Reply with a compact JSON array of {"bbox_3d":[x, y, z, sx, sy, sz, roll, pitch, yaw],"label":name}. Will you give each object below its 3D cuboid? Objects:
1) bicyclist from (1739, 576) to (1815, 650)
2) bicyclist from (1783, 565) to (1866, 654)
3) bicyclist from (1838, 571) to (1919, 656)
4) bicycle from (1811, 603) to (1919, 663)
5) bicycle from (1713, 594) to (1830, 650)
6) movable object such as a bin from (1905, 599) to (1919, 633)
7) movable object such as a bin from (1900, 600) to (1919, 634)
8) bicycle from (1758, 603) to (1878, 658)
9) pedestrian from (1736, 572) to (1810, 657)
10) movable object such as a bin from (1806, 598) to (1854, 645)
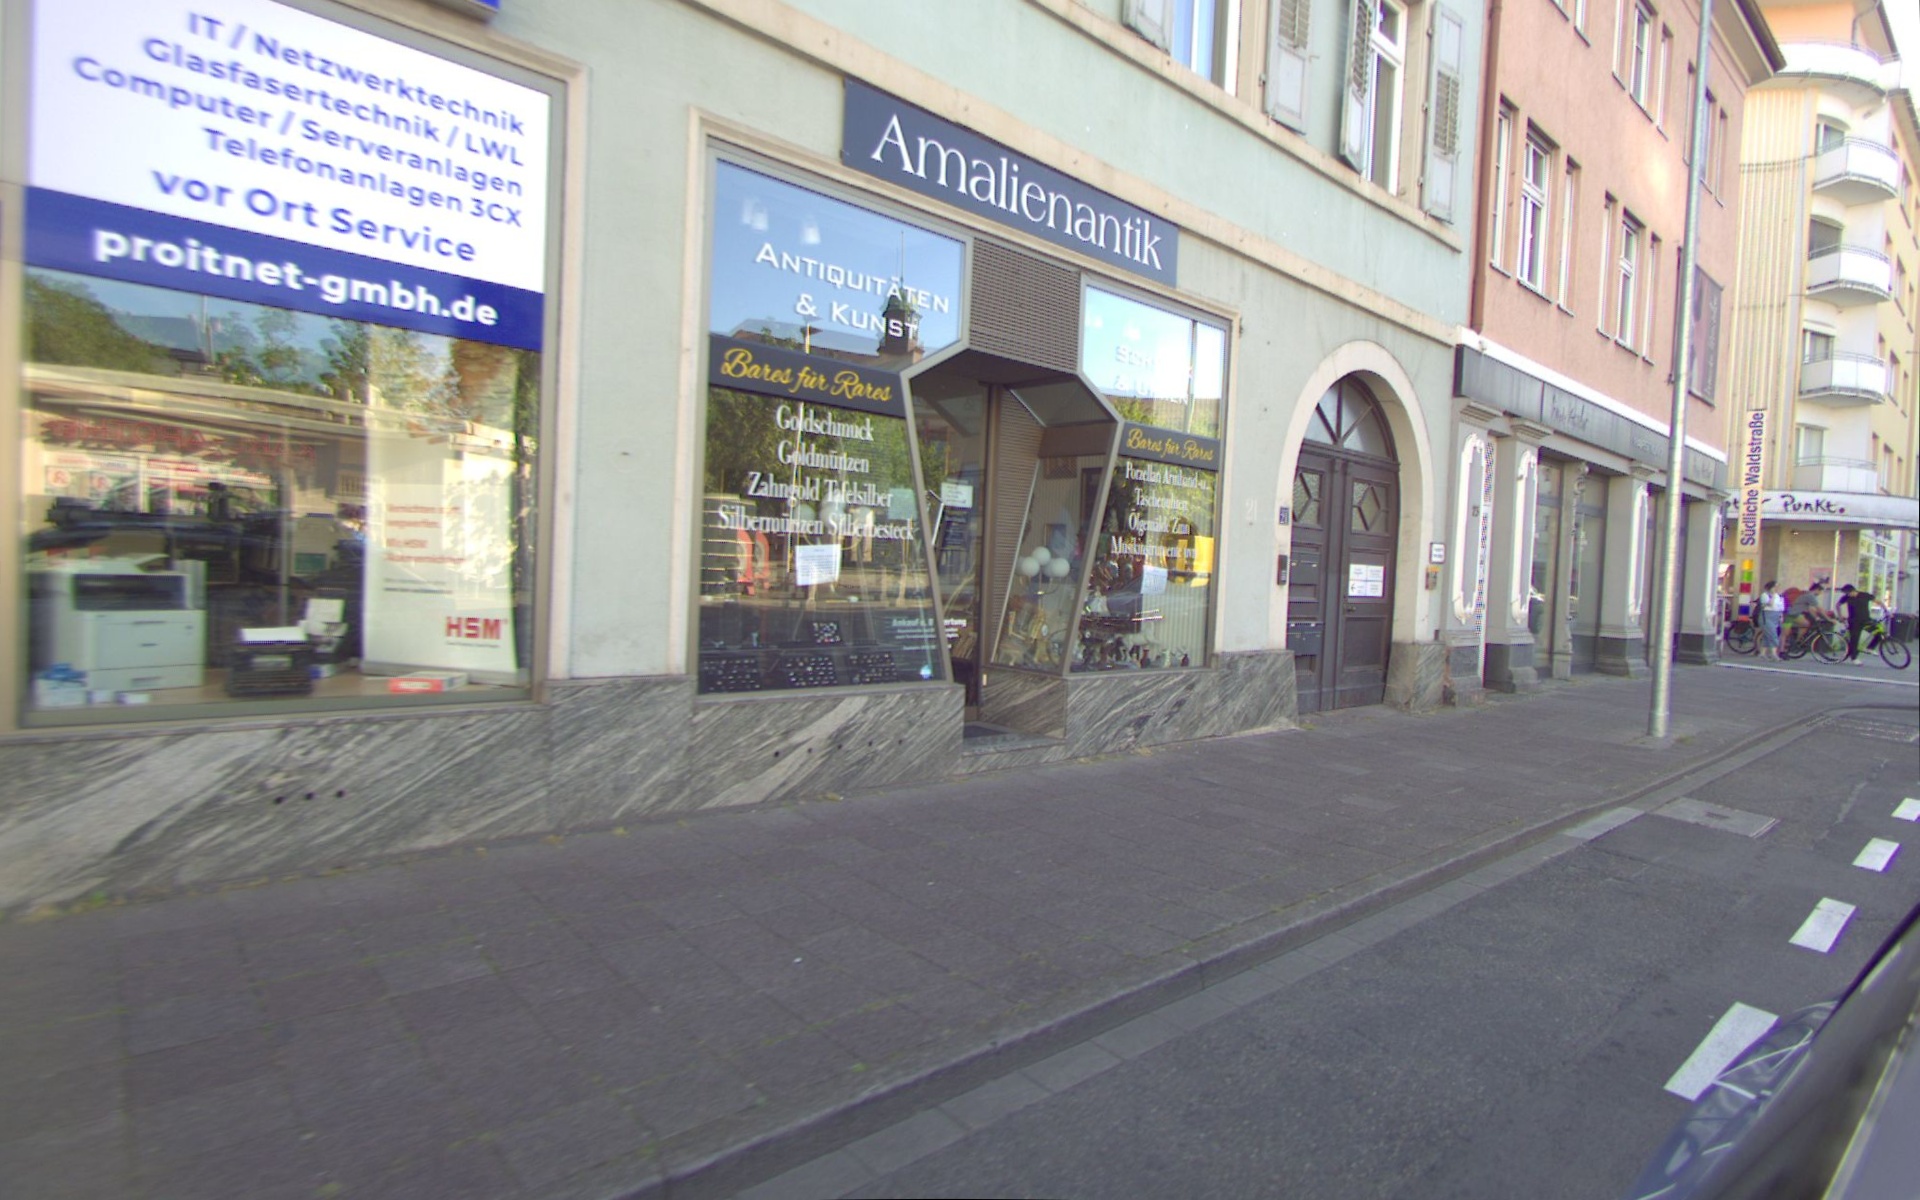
[{"bbox_3d":[18.355,0.280,22.751,0.711,1.602,1.033,2,2,-19],"label":"bicyclist"},{"bbox_3d":[18.240,0.177,21.380,1.132,1.783,0.745,3,2,30],"label":"bicyclist"},{"bbox_3d":[19.287,0.262,21.148,0.711,1.705,1.135,2,2,-14],"label":"bicyclist"},{"bbox_3d":[19.281,0.675,21.411,0.548,1.031,1.921,2,4,-14],"label":"bicycle"},{"bbox_3d":[18.295,0.482,22.867,0.718,1.110,1.925,2,2,-19],"label":"bicycle"},{"bbox_3d":[36.110,0.603,38.056,0.944,1.254,0.703,1,2,-41],"label":"movable object such as a bin"},{"bbox_3d":[34.825,0.629,36.885,0.944,1.174,0.703,1,2,-41],"label":"movable object such as a bin"},{"bbox_3d":[18.134,0.622,21.444,1.806,1.006,0.559,4,2,29],"label":"bicycle"},{"bbox_3d":[16.661,0.275,20.758,0.751,1.679,0.816,2,1,-5],"label":"pedestrian"},{"bbox_3d":[22.015,0.526,25.613,0.610,1.126,0.809,1,3,-42],"label":"movable object such as a bin"}]
